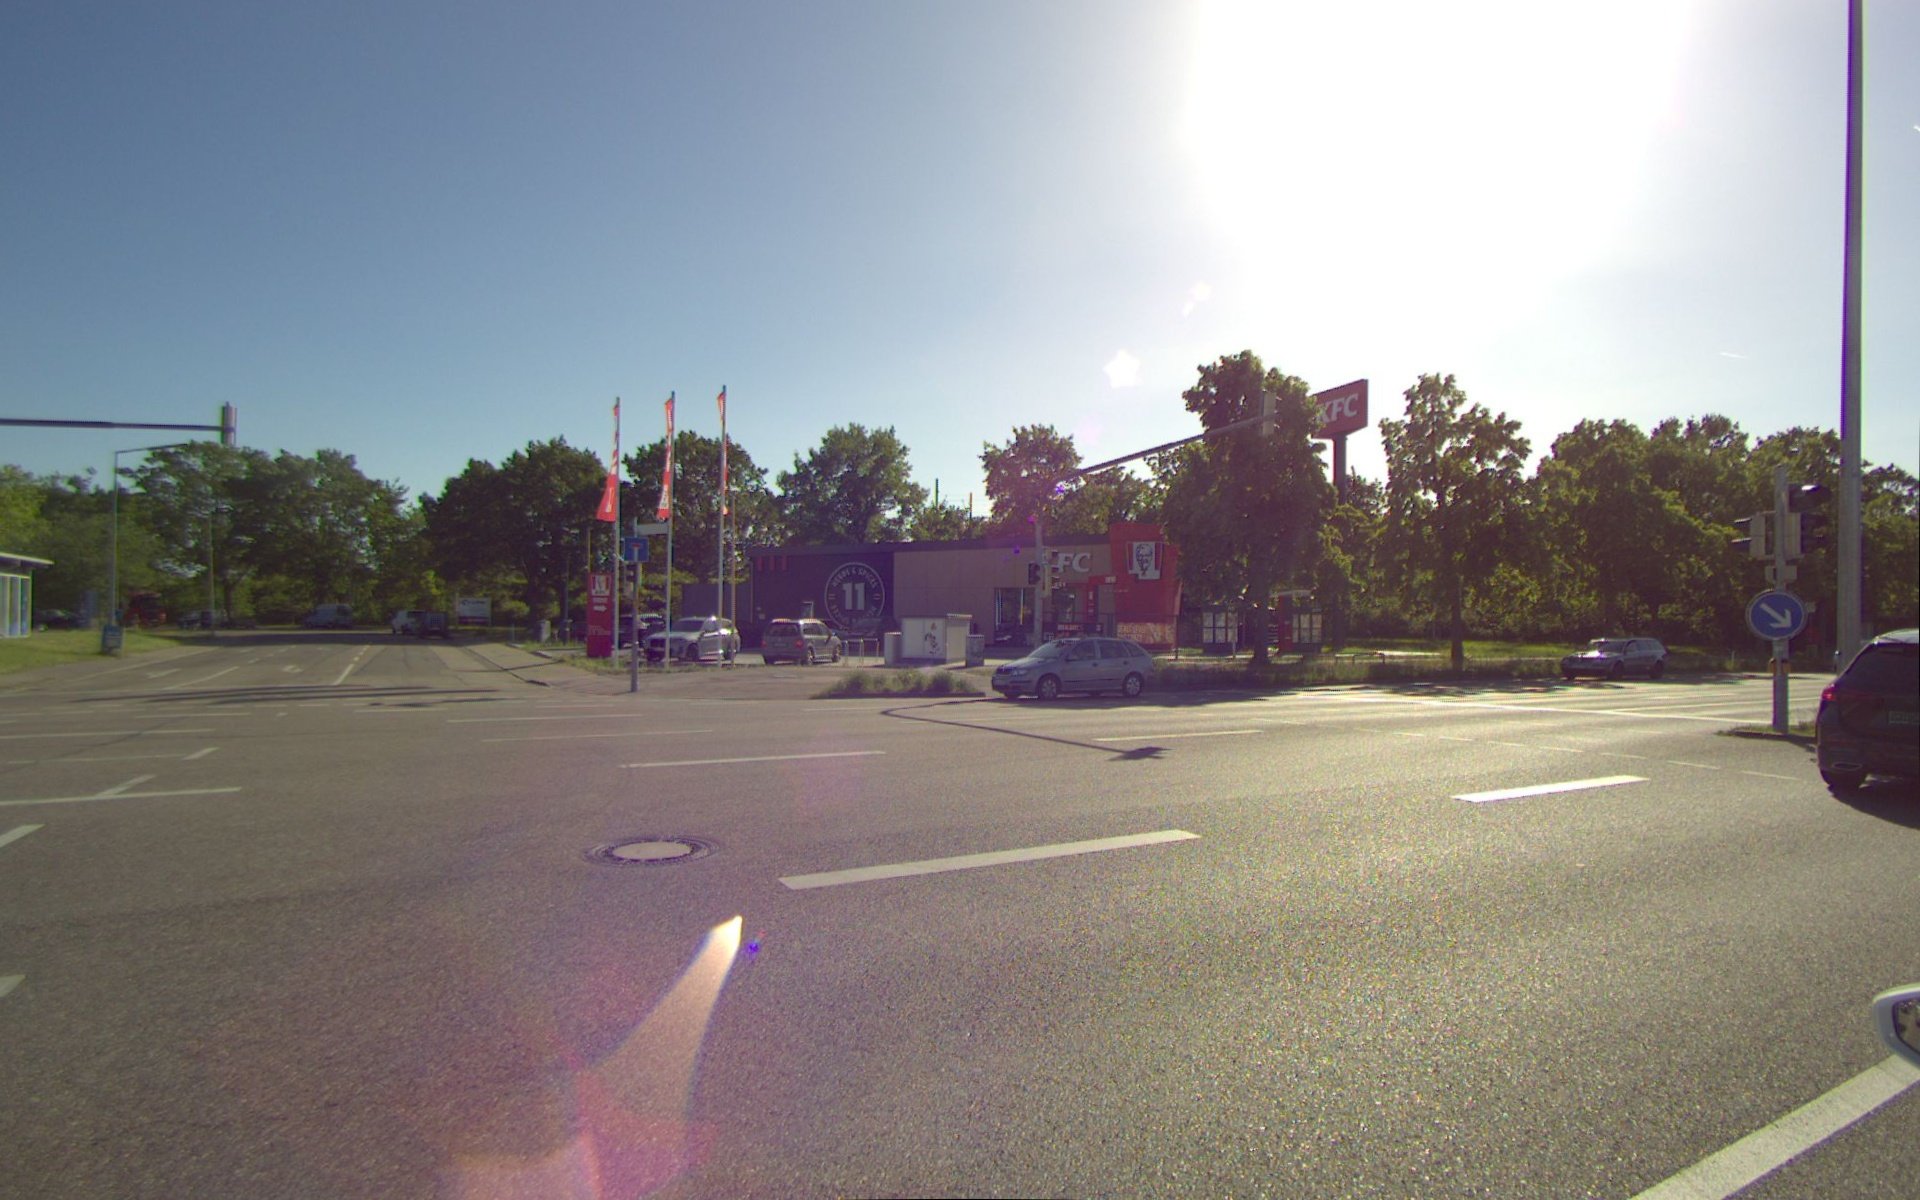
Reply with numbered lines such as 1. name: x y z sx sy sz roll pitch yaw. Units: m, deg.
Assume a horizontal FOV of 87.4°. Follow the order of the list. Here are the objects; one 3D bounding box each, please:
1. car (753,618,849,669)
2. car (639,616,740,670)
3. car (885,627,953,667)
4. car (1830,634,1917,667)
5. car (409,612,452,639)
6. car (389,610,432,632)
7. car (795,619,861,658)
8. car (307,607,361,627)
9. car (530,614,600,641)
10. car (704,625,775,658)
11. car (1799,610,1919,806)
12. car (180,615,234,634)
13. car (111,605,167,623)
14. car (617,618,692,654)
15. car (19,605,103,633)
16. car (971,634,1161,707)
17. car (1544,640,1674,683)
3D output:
1. car: -5.843 1.563 37.367 1.858 1.684 4.134 2 0 17
2. car: -10.245 1.590 38.371 1.811 1.875 3.830 2 0 20
3. car: -1.861 2.183 47.531 1.858 1.684 4.243 2 0 17
4. car: 43.877 2.411 48.247 4.147 1.493 1.984 2 -2 -30
5. car: -37.928 1.823 71.873 1.893 1.867 4.252 2 -3 -39
6. car: -44.742 1.760 81.722 4.241 1.690 1.898 -2 -3 44
7. car: -6.595 1.907 50.710 1.845 1.771 4.002 2 0 15
8. car: -57.821 1.598 92.770 4.699 1.823 2.099 -1 -3 27
9. car: -27.488 1.925 69.957 4.213 1.867 1.911 0 -2 15
10. car: -11.317 2.090 51.816 1.845 1.539 4.002 2 0 15
11. car: 9.837 0.974 9.425 4.175 1.619 1.699 2 0 -31
12. car: -77.102 2.514 102.861 4.693 1.823 2.102 0 -2 20
13. car: -86.366 1.520 105.661 4.690 1.823 2.103 0 -2 13
14. car: -15.853 1.903 52.386 1.880 1.764 4.304 0 -2 12
15. car: -58.356 1.244 65.285 3.646 1.690 1.896 2 -3 -27
16. car: 2.521 1.592 23.717 4.147 1.546 1.984 1 -1 -30
17. car: 22.689 2.131 35.082 4.569 1.394 1.984 2 -2 -31
